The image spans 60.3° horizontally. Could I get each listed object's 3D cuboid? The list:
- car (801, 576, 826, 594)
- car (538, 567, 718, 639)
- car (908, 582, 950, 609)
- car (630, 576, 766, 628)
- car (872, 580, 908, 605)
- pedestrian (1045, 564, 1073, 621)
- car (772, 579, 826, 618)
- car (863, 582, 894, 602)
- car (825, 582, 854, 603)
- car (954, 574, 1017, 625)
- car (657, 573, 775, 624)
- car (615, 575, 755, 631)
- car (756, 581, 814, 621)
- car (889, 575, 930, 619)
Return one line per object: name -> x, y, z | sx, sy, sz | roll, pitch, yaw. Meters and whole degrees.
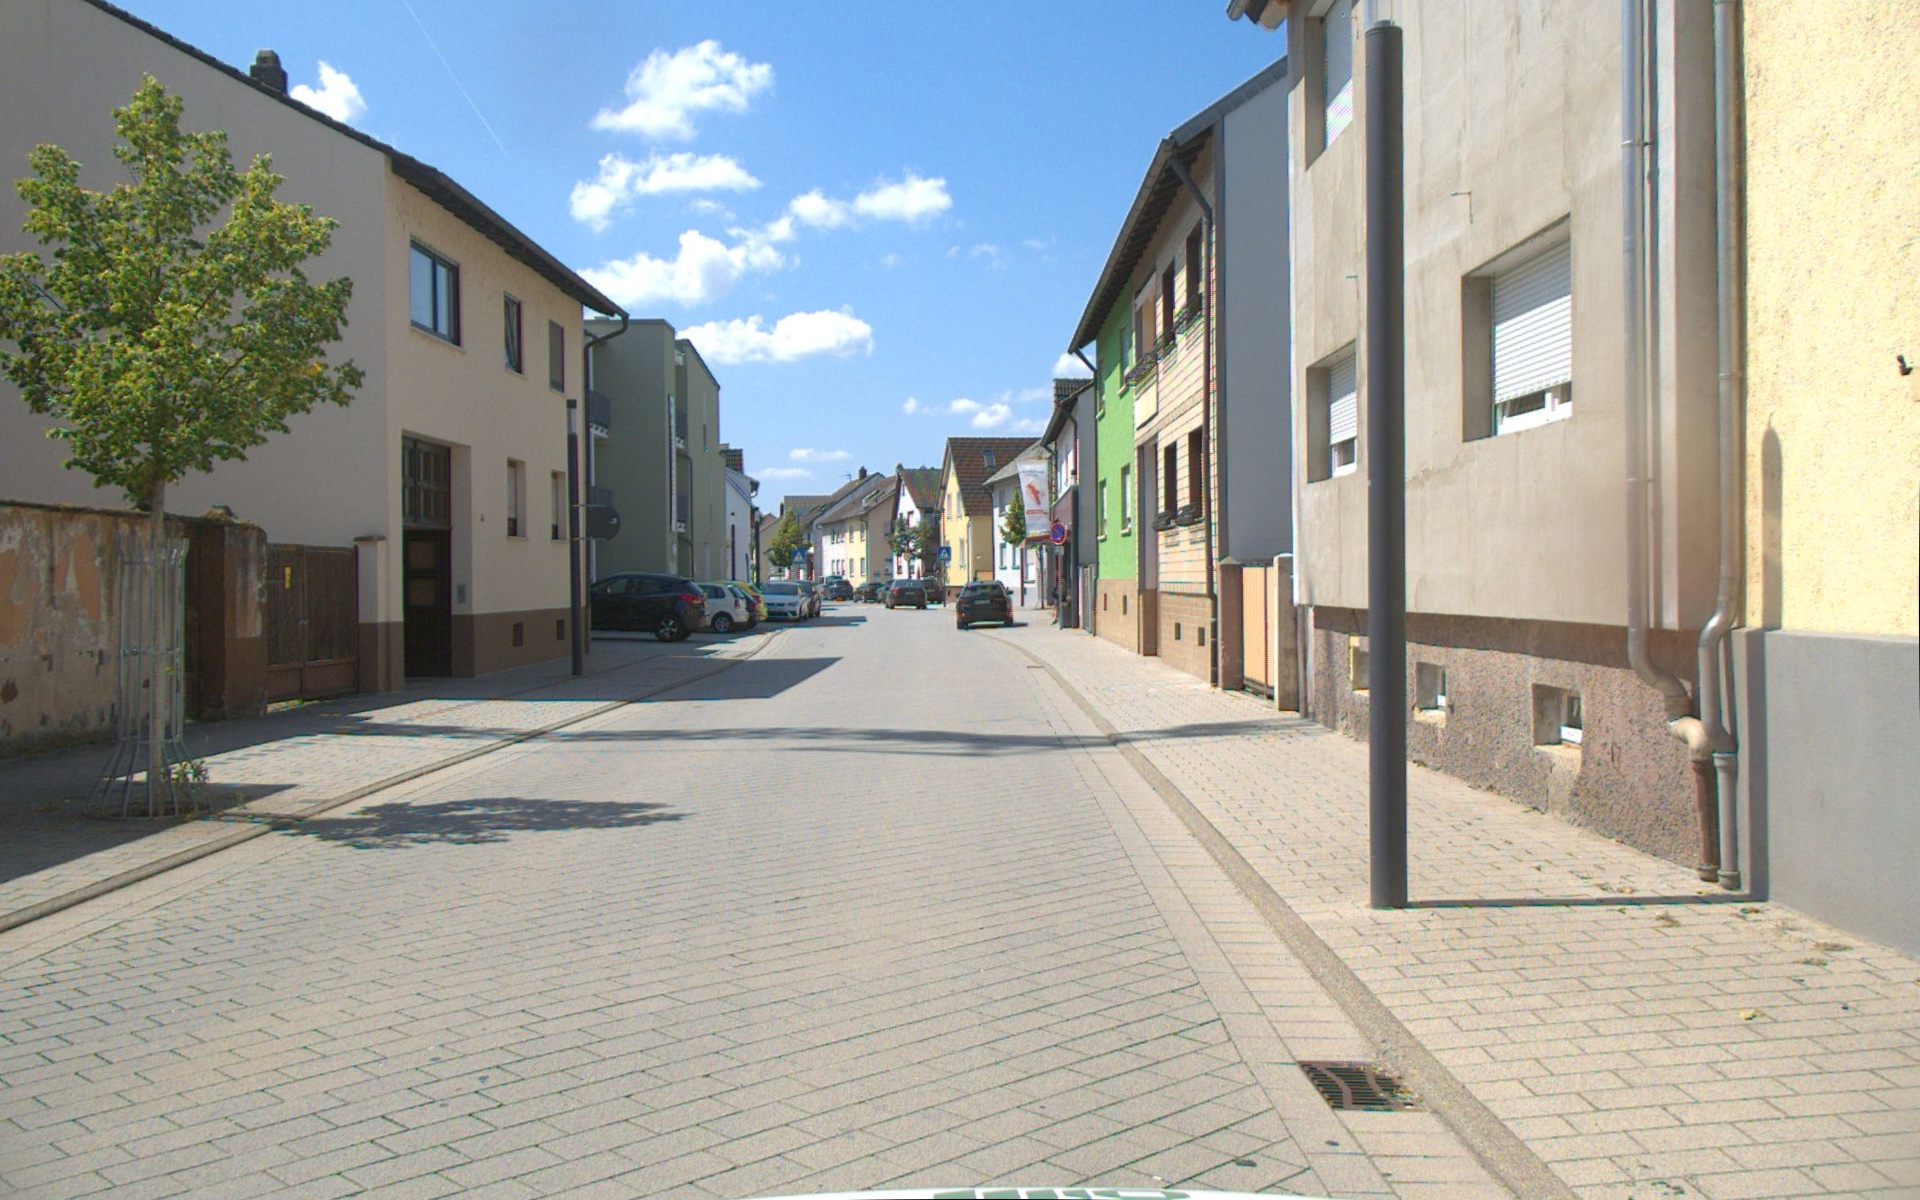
car -> -12.918, -1.360, 145.686 | 1.723, 1.519, 3.989 | -1, 1, -12
car -> -8.321, 0.066, 41.647 | 4.133, 1.687, 1.784 | 1, 0, -1
car -> -1.924, -0.268, 101.002 | 1.797, 1.497, 4.264 | -3, 1, -12
car -> -8.143, 0.051, 51.647 | 3.905, 1.467, 1.691 | 2, 0, 0
car -> -4.707, -0.503, 110.352 | 1.814, 1.590, 3.683 | -1, 1, -12
pedestrian -> 2.969, -0.229, 49.649 | 0.714, 1.668, 0.749 | -4, 0, 3
car -> -6.670, -0.086, 68.863 | 1.776, 1.516, 4.277 | 1, 1, 0
car -> -5.825, -0.585, 117.872 | 1.680, 1.411, 3.695 | -1, 1, -12
car -> -9.569, -0.626, 131.166 | 1.844, 1.619, 3.989 | -1, 1, -12
car -> 0.873, -0.038, 53.855 | 1.819, 1.484, 4.588 | -3, 1, 3
car -> -8.061, -0.061, 54.787 | 3.616, 1.552, 1.673 | 2, 1, 1
car -> -8.190, 0.081, 49.515 | 3.820, 1.528, 1.751 | 2, 1, 1
car -> -6.629, 0.009, 62.909 | 1.722, 1.435, 3.878 | 1, 1, 0
car -> -2.528, -0.166, 81.711 | 1.953, 2.093, 4.372 | -1, 1, -2
